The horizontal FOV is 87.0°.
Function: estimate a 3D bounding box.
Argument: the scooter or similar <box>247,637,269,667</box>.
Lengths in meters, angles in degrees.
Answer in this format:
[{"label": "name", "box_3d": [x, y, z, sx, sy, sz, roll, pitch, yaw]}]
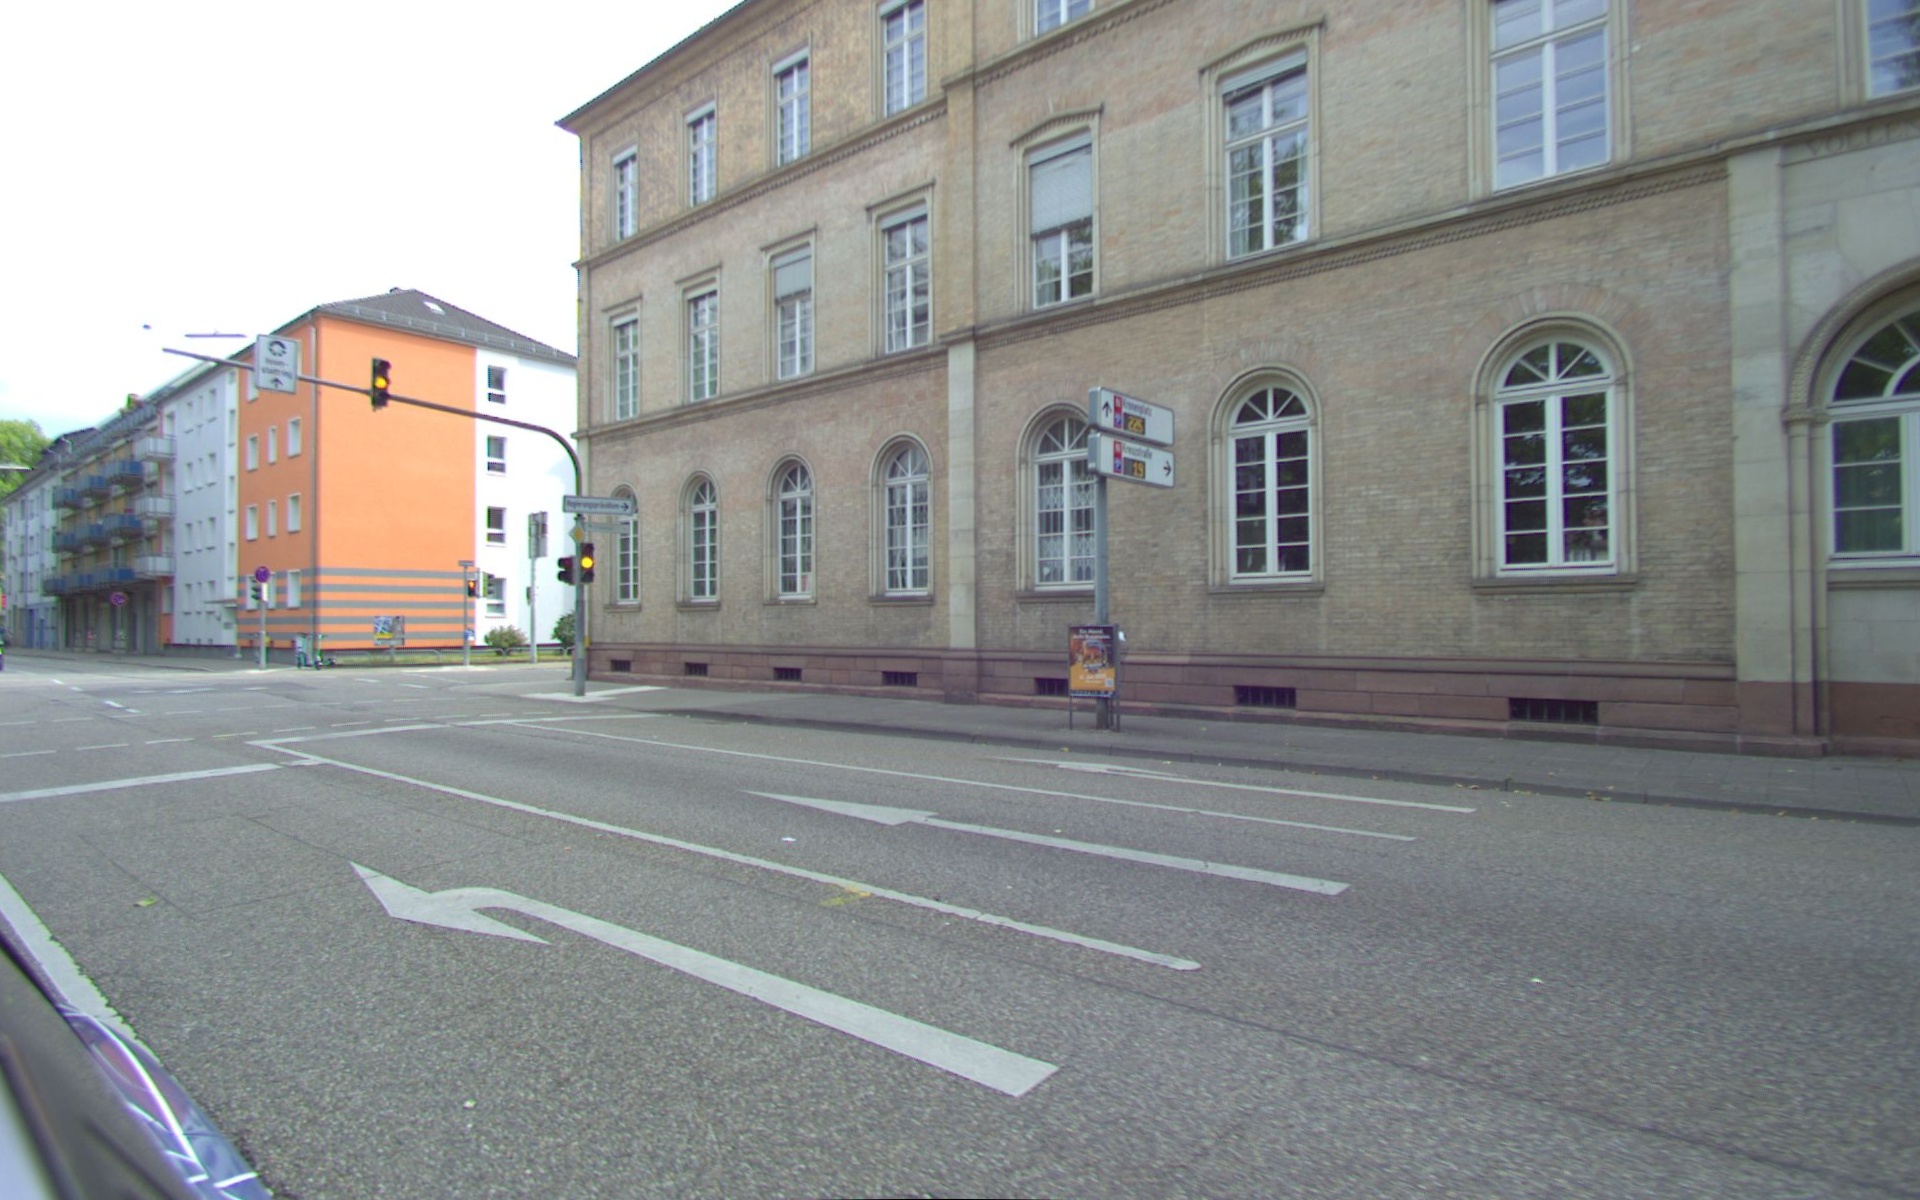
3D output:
[{"label": "scooter or similar", "box_3d": [-26.597, 1.961, 38.341, 1.353, 1.133, 0.364, -2, -1, 41]}]

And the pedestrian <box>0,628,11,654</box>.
[{"label": "pedestrian", "box_3d": [-76.191, 3.247, 80.602, 0.875, 2.029, 0.831, -2, -1, 45]}]

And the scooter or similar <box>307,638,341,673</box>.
[{"label": "scooter or similar", "box_3d": [-21.617, 1.892, 34.368, 1.347, 1.166, 0.327, -2, -1, 28]}]

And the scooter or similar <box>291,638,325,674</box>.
[{"label": "scooter or similar", "box_3d": [-21.703, 1.867, 33.689, 1.336, 1.188, 0.327, -2, -1, 28]}]
